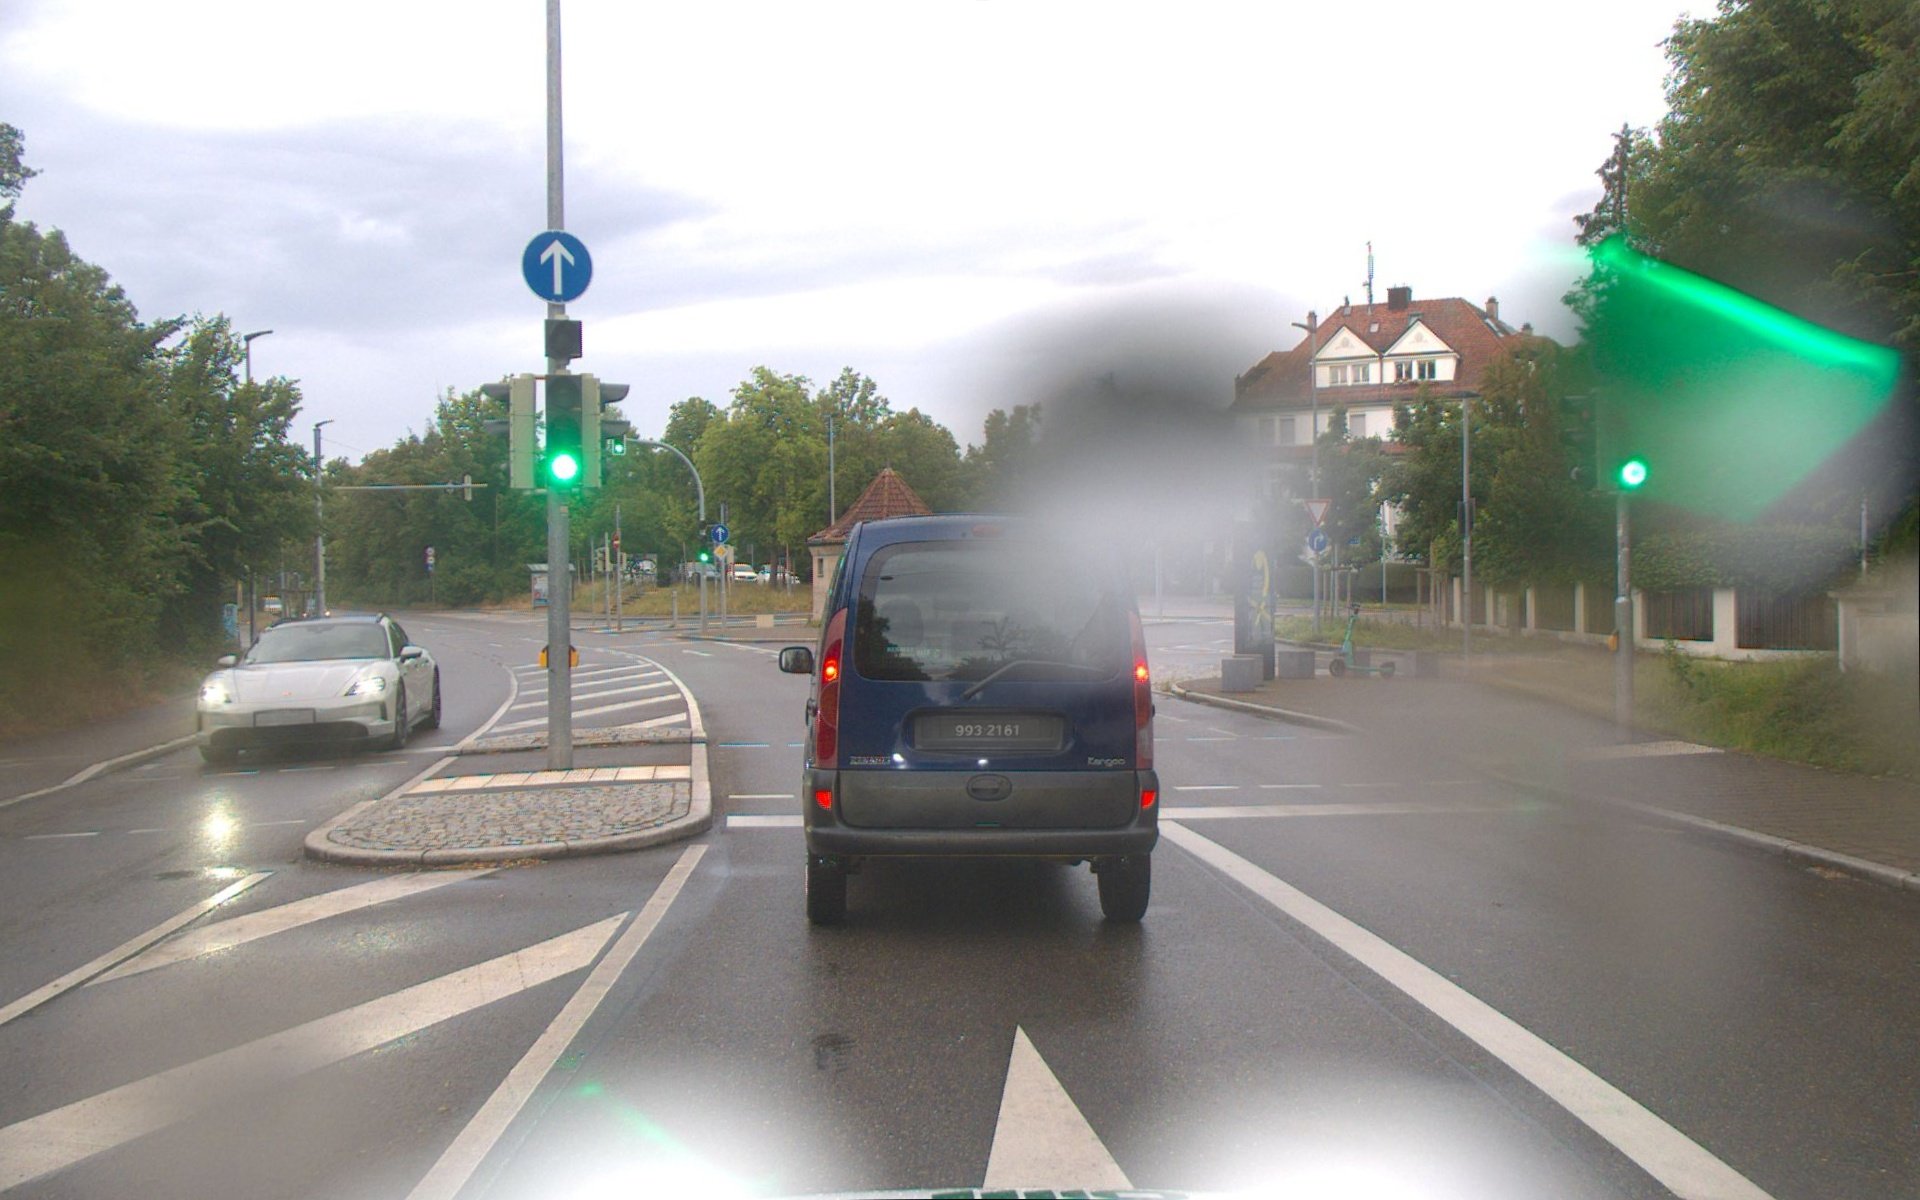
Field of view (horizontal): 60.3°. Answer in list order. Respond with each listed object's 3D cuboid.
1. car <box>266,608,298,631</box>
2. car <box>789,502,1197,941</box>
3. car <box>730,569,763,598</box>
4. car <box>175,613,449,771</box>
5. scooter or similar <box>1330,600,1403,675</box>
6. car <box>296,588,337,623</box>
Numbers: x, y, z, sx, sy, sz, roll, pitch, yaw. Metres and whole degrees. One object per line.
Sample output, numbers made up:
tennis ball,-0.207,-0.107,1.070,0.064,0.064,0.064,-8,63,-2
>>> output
car,-48.513,1.414,118.408,1.964,1.613,3.976,0,-1,-20
car,0.053,0.488,8.884,1.697,1.817,3.998,0,0,-3
car,-14.127,-1.055,109.662,1.955,1.844,3.996,0,-1,-5
car,-6.925,0.905,18.173,1.958,1.334,4.348,-3,1,-11
scooter or similar,6.839,0.623,27.850,1.125,1.240,0.405,-1,-1,-2
car,-38.349,0.346,98.471,1.969,2.049,3.966,0,-1,-26
